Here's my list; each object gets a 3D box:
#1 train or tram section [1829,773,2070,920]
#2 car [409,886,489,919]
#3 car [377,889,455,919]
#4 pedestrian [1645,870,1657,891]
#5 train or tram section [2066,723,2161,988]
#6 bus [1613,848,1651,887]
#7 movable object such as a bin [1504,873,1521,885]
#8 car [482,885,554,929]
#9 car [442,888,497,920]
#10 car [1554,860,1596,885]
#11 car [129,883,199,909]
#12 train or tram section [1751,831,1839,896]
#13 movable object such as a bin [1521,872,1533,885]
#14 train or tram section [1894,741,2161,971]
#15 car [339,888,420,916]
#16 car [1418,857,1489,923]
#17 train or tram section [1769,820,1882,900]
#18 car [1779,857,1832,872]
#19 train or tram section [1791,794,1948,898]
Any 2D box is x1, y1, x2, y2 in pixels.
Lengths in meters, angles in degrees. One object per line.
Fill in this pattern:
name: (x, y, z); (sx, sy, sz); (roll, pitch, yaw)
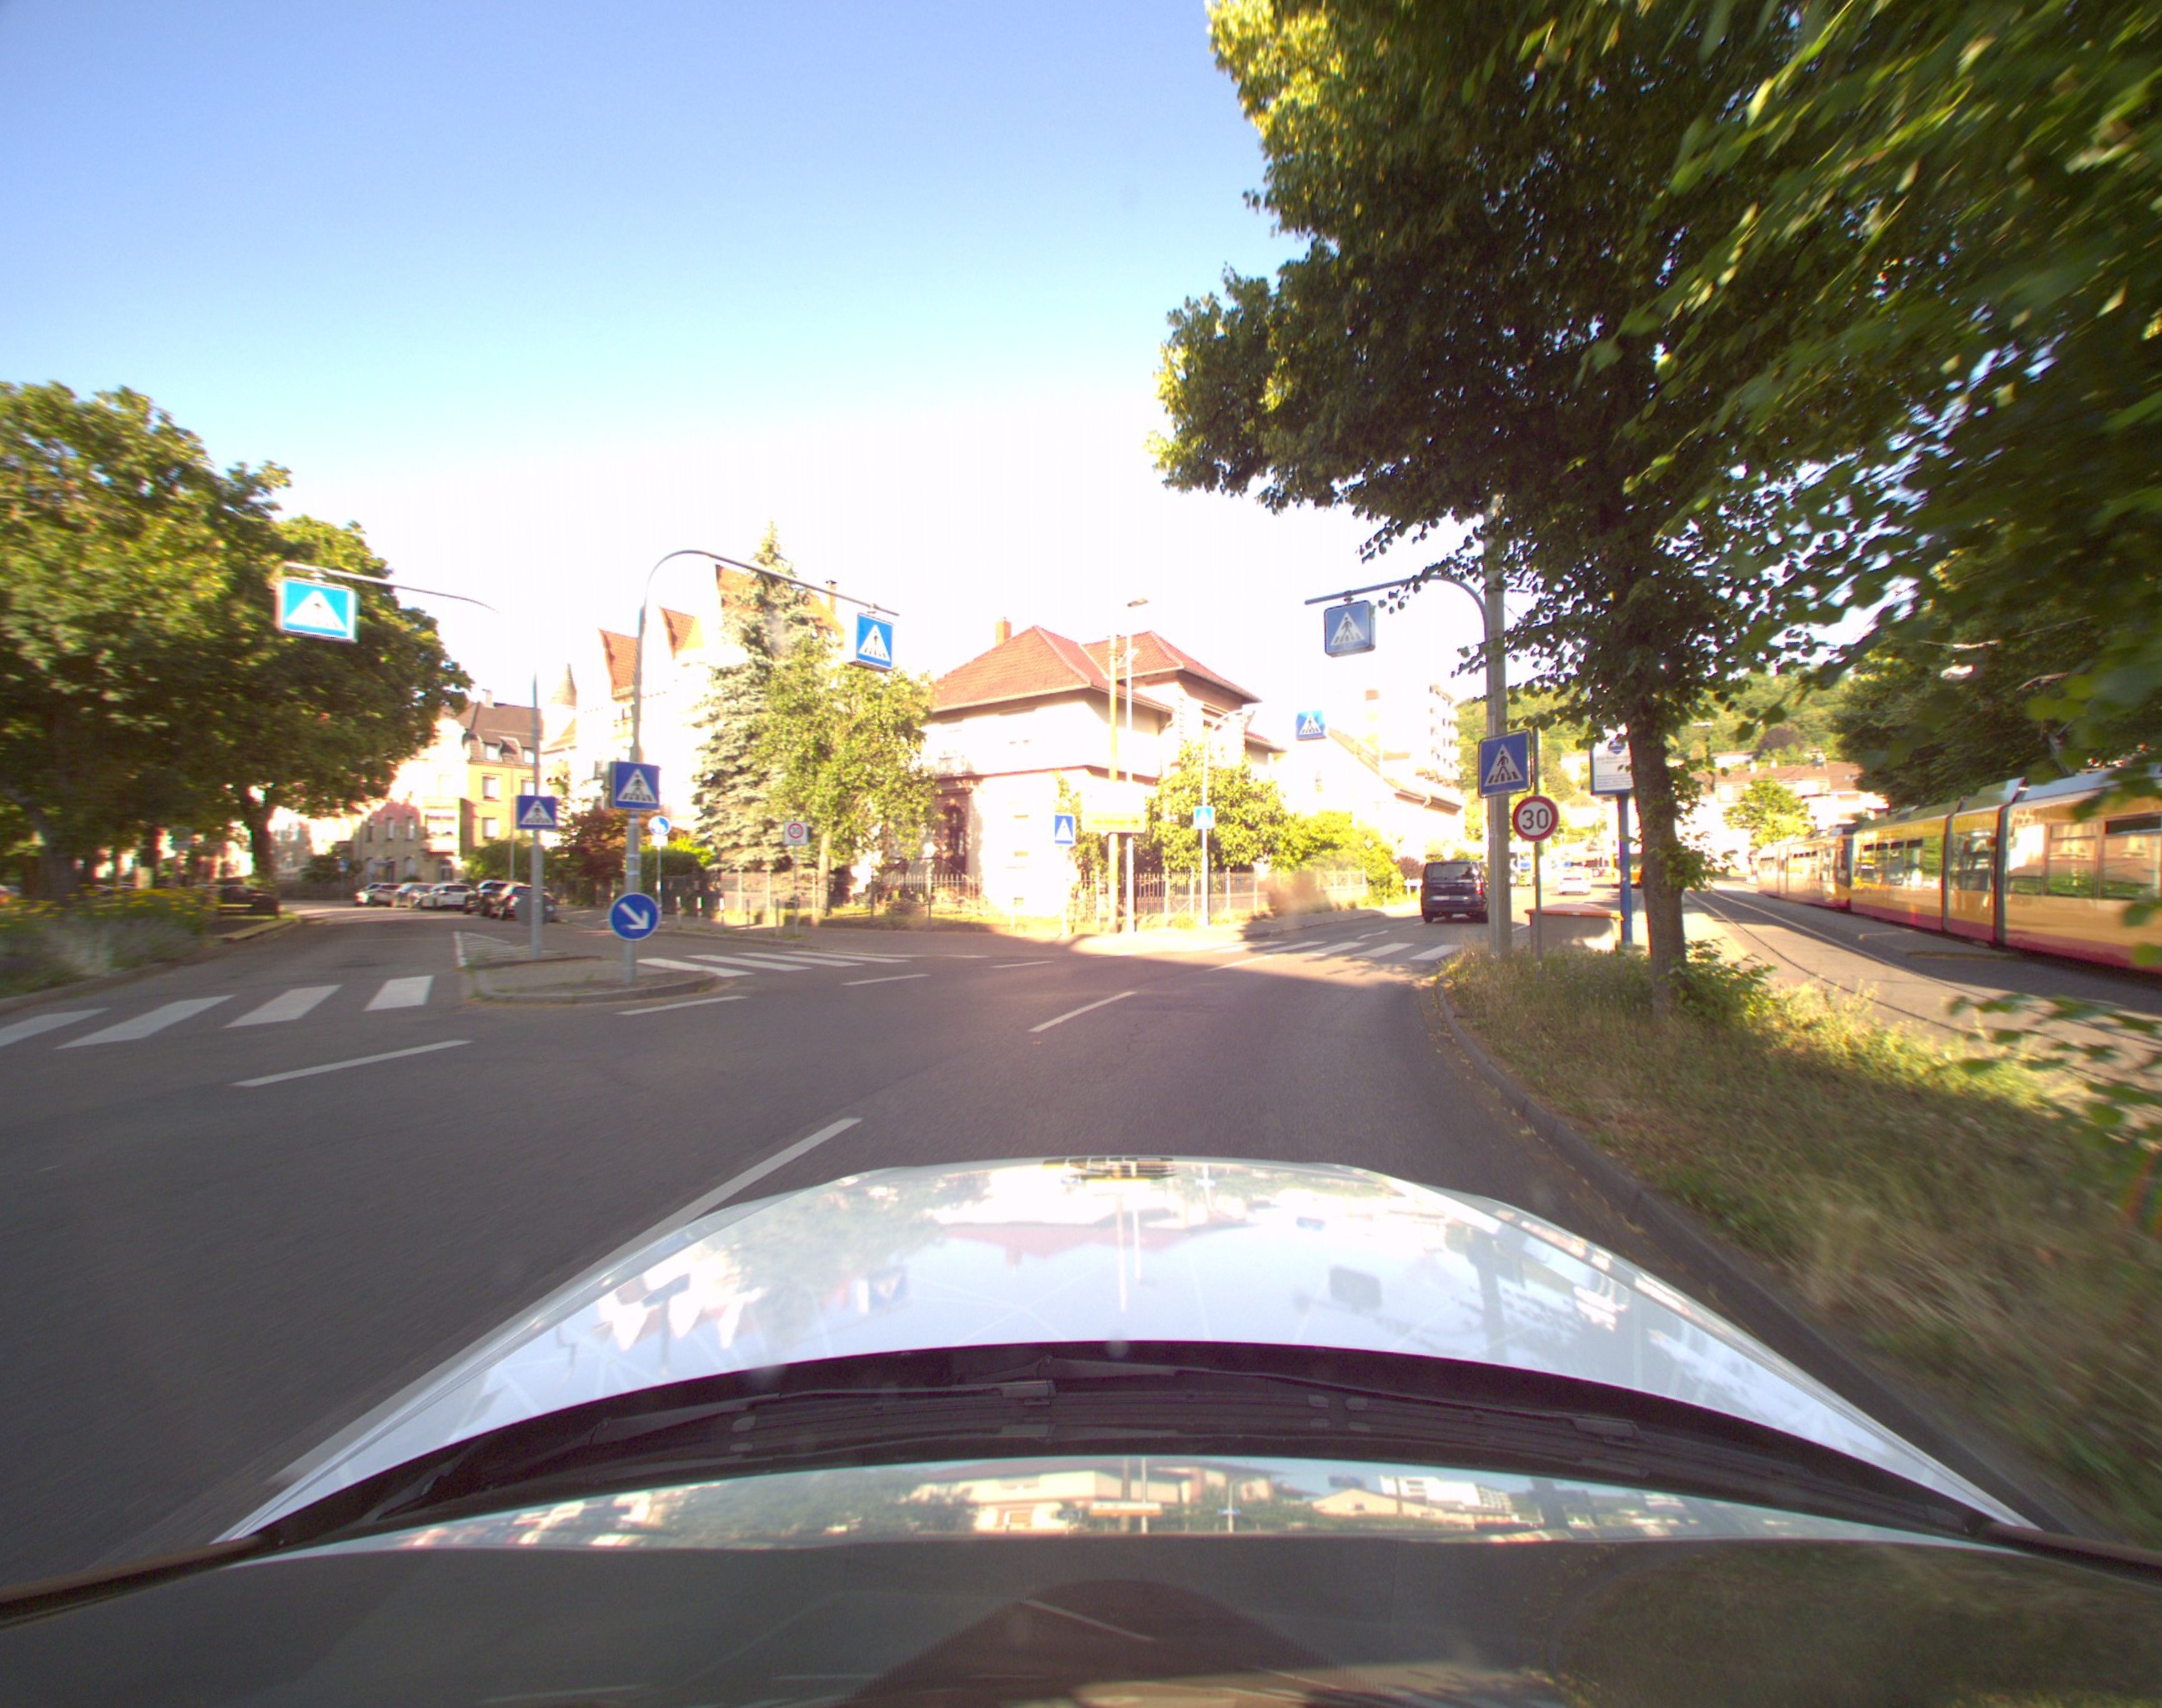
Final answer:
train or tram section: (25.563, -0.119, 24.665); (2.748, 3.556, 9.982); (-1, -1, 34)
car: (-33.856, 2.547, 43.556); (4.866, 1.596, 2.362); (-2, -2, 40)
car: (-38.195, 2.812, 46.753); (4.865, 1.596, 2.362); (-1, -2, 37)
pedestrian: (47.822, 2.253, 68.347); (0.544, 1.767, 0.549); (1, -2, -16)
train or tram section: (14.373, -0.017, 8.155); (2.748, 3.556, 9.982); (-1, -1, 33)
bus: (50.280, 1.307, 74.213); (2.678, 3.291, 10.274); (-1, -2, 35)
movable object such as a bin: (44.319, 2.539, 83.664); (1.413, 1.228, 0.965); (-1, -2, 24)
car: (-22.599, 2.073, 32.631); (2.010, 1.596, 3.953); (2, -2, -40)
car: (-26.657, 2.142, 35.458); (1.670, 1.236, 3.752); (2, -2, -40)
car: (35.103, 1.318, 57.949); (1.976, 1.717, 4.021); (-1, -2, 23)
car: (-72.303, 3.276, 64.205); (4.868, 2.041, 2.361); (-1, -2, 25)
train or tram section: (42.808, 0.573, 49.130); (2.748, 3.556, 9.982); (-1, -1, 34)
movable object such as a bin: (45.596, 2.472, 83.263); (1.026, 1.304, 0.965); (-1, -2, 24)
train or tram section: (19.809, 0.062, 16.522); (2.748, 3.556, 9.982); (-1, -1, 34)
car: (-43.032, 2.914, 49.944); (4.866, 1.596, 2.362); (-1, -2, 32)
car: (12.433, 1.142, 27.049); (1.975, 2.014, 4.023); (0, -1, 27)
train or tram section: (37.092, 0.341, 40.966); (2.748, 3.556, 9.982); (-1, -1, 34)
car: (95.664, 1.414, 107.604); (5.162, 2.014, 2.012); (-2, -2, 39)
train or tram section: (31.293, -0.197, 32.822); (2.748, 3.556, 9.982); (-1, -1, 34)
